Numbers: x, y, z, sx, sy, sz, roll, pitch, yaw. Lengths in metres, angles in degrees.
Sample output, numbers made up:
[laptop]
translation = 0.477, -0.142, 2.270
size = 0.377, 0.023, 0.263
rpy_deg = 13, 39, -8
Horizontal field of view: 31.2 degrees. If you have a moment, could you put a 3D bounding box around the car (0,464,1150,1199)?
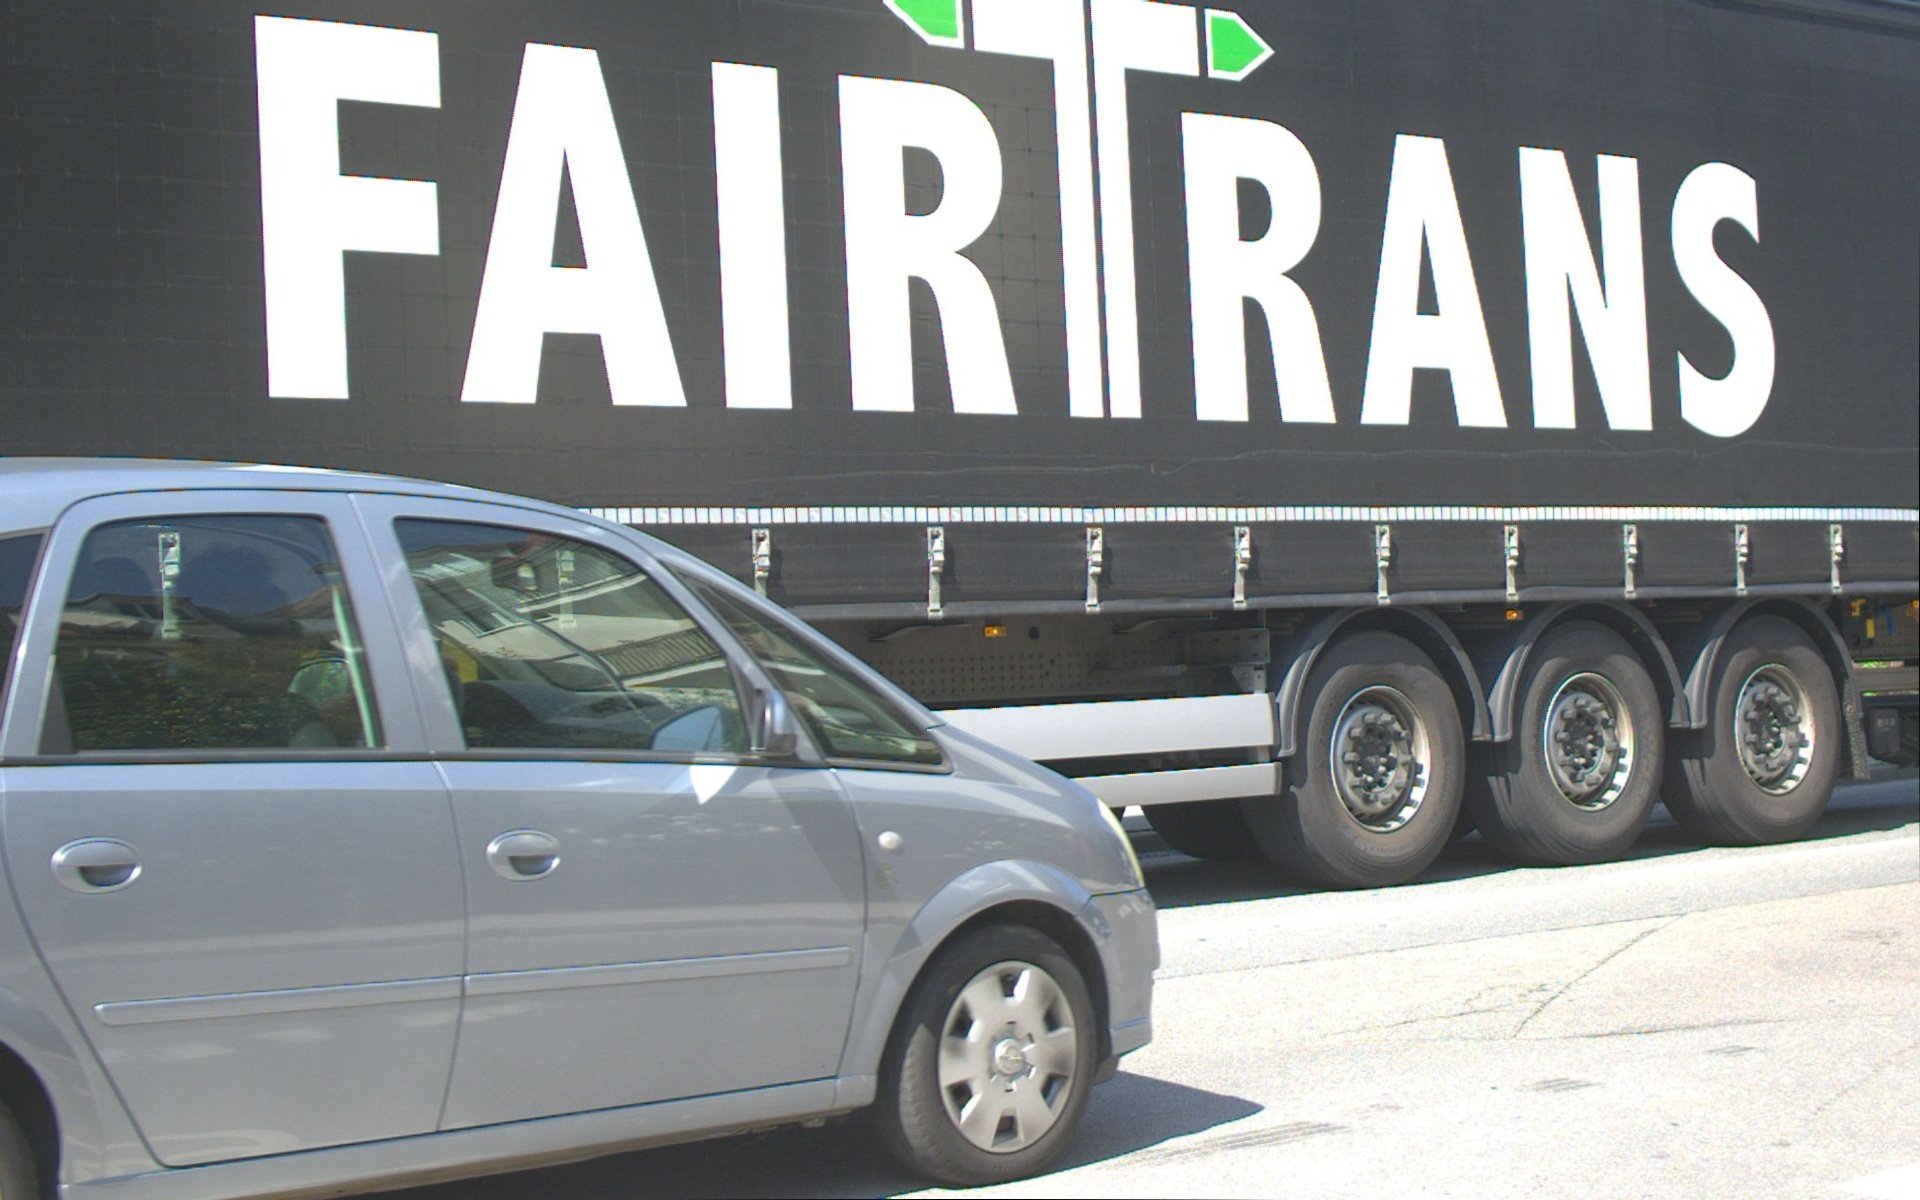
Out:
[car]
translation = -1.526, 0.541, 7.091
size = 3.729, 1.605, 1.692
rpy_deg = -1, 2, -42

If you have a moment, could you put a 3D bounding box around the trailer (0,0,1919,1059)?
[trailer]
translation = -0.155, -0.795, 14.050
size = 13.732, 4.090, 2.841
rpy_deg = -2, -1, -40

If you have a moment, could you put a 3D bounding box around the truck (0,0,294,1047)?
[truck]
translation = -5.281, -0.646, 9.698
size = 5.915, 4.057, 2.838
rpy_deg = -2, -1, -40
